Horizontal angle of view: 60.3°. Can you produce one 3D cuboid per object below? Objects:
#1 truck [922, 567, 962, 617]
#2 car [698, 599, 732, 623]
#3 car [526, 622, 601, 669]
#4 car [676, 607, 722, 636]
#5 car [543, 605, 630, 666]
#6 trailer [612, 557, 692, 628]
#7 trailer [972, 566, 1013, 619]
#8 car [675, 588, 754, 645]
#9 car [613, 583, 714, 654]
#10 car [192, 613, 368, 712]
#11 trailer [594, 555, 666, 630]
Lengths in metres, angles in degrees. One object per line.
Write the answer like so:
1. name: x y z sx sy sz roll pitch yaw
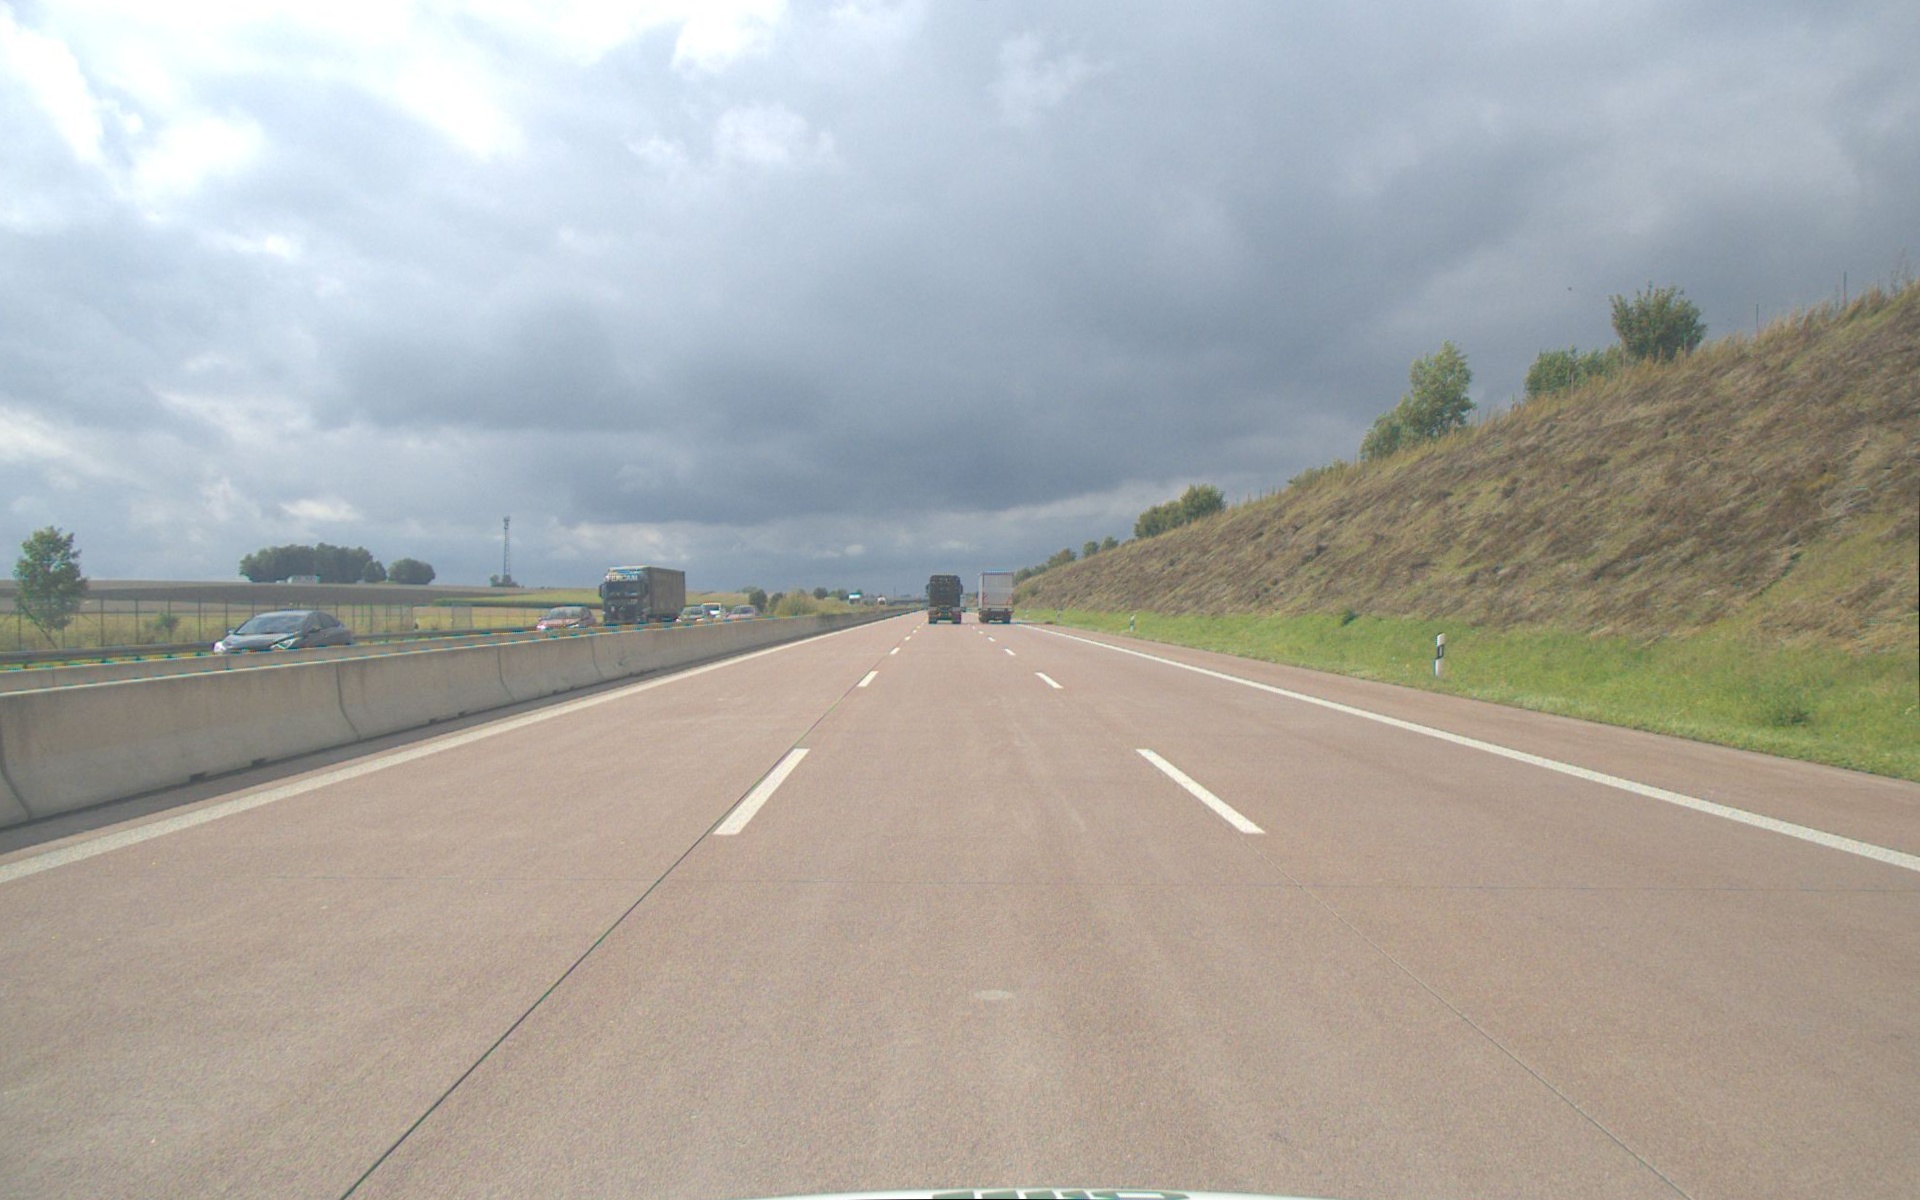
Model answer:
1. truck: -1.411 -0.566 125.798 2.790 3.612 8.315 1 -1 -2
2. car: -20.357 0.901 137.801 2.016 1.878 5.727 -1 0 -1
3. car: -15.477 1.750 64.792 1.933 1.691 4.489 1 0 -1
4. car: -15.461 1.251 98.156 1.953 1.602 5.217 1 0 -1
5. car: -7.755 0.717 34.490 1.198 1.172 2.757 1 0 -1
6. trailer: -19.871 -0.480 107.428 2.960 4.339 12.093 1 0 0
7. trailer: 2.549 -0.527 133.323 2.692 4.082 8.666 1 -1 -3
8. car: -7.688 0.498 52.127 1.932 1.691 4.081 1 0 -1
9. car: -7.593 0.449 42.711 1.846 1.691 4.433 1 0 -1
10. car: -15.306 1.342 37.573 1.945 2.049 5.050 1 0 -1
11. trailer: -19.829 -0.441 99.755 2.946 4.322 7.008 1 0 0
